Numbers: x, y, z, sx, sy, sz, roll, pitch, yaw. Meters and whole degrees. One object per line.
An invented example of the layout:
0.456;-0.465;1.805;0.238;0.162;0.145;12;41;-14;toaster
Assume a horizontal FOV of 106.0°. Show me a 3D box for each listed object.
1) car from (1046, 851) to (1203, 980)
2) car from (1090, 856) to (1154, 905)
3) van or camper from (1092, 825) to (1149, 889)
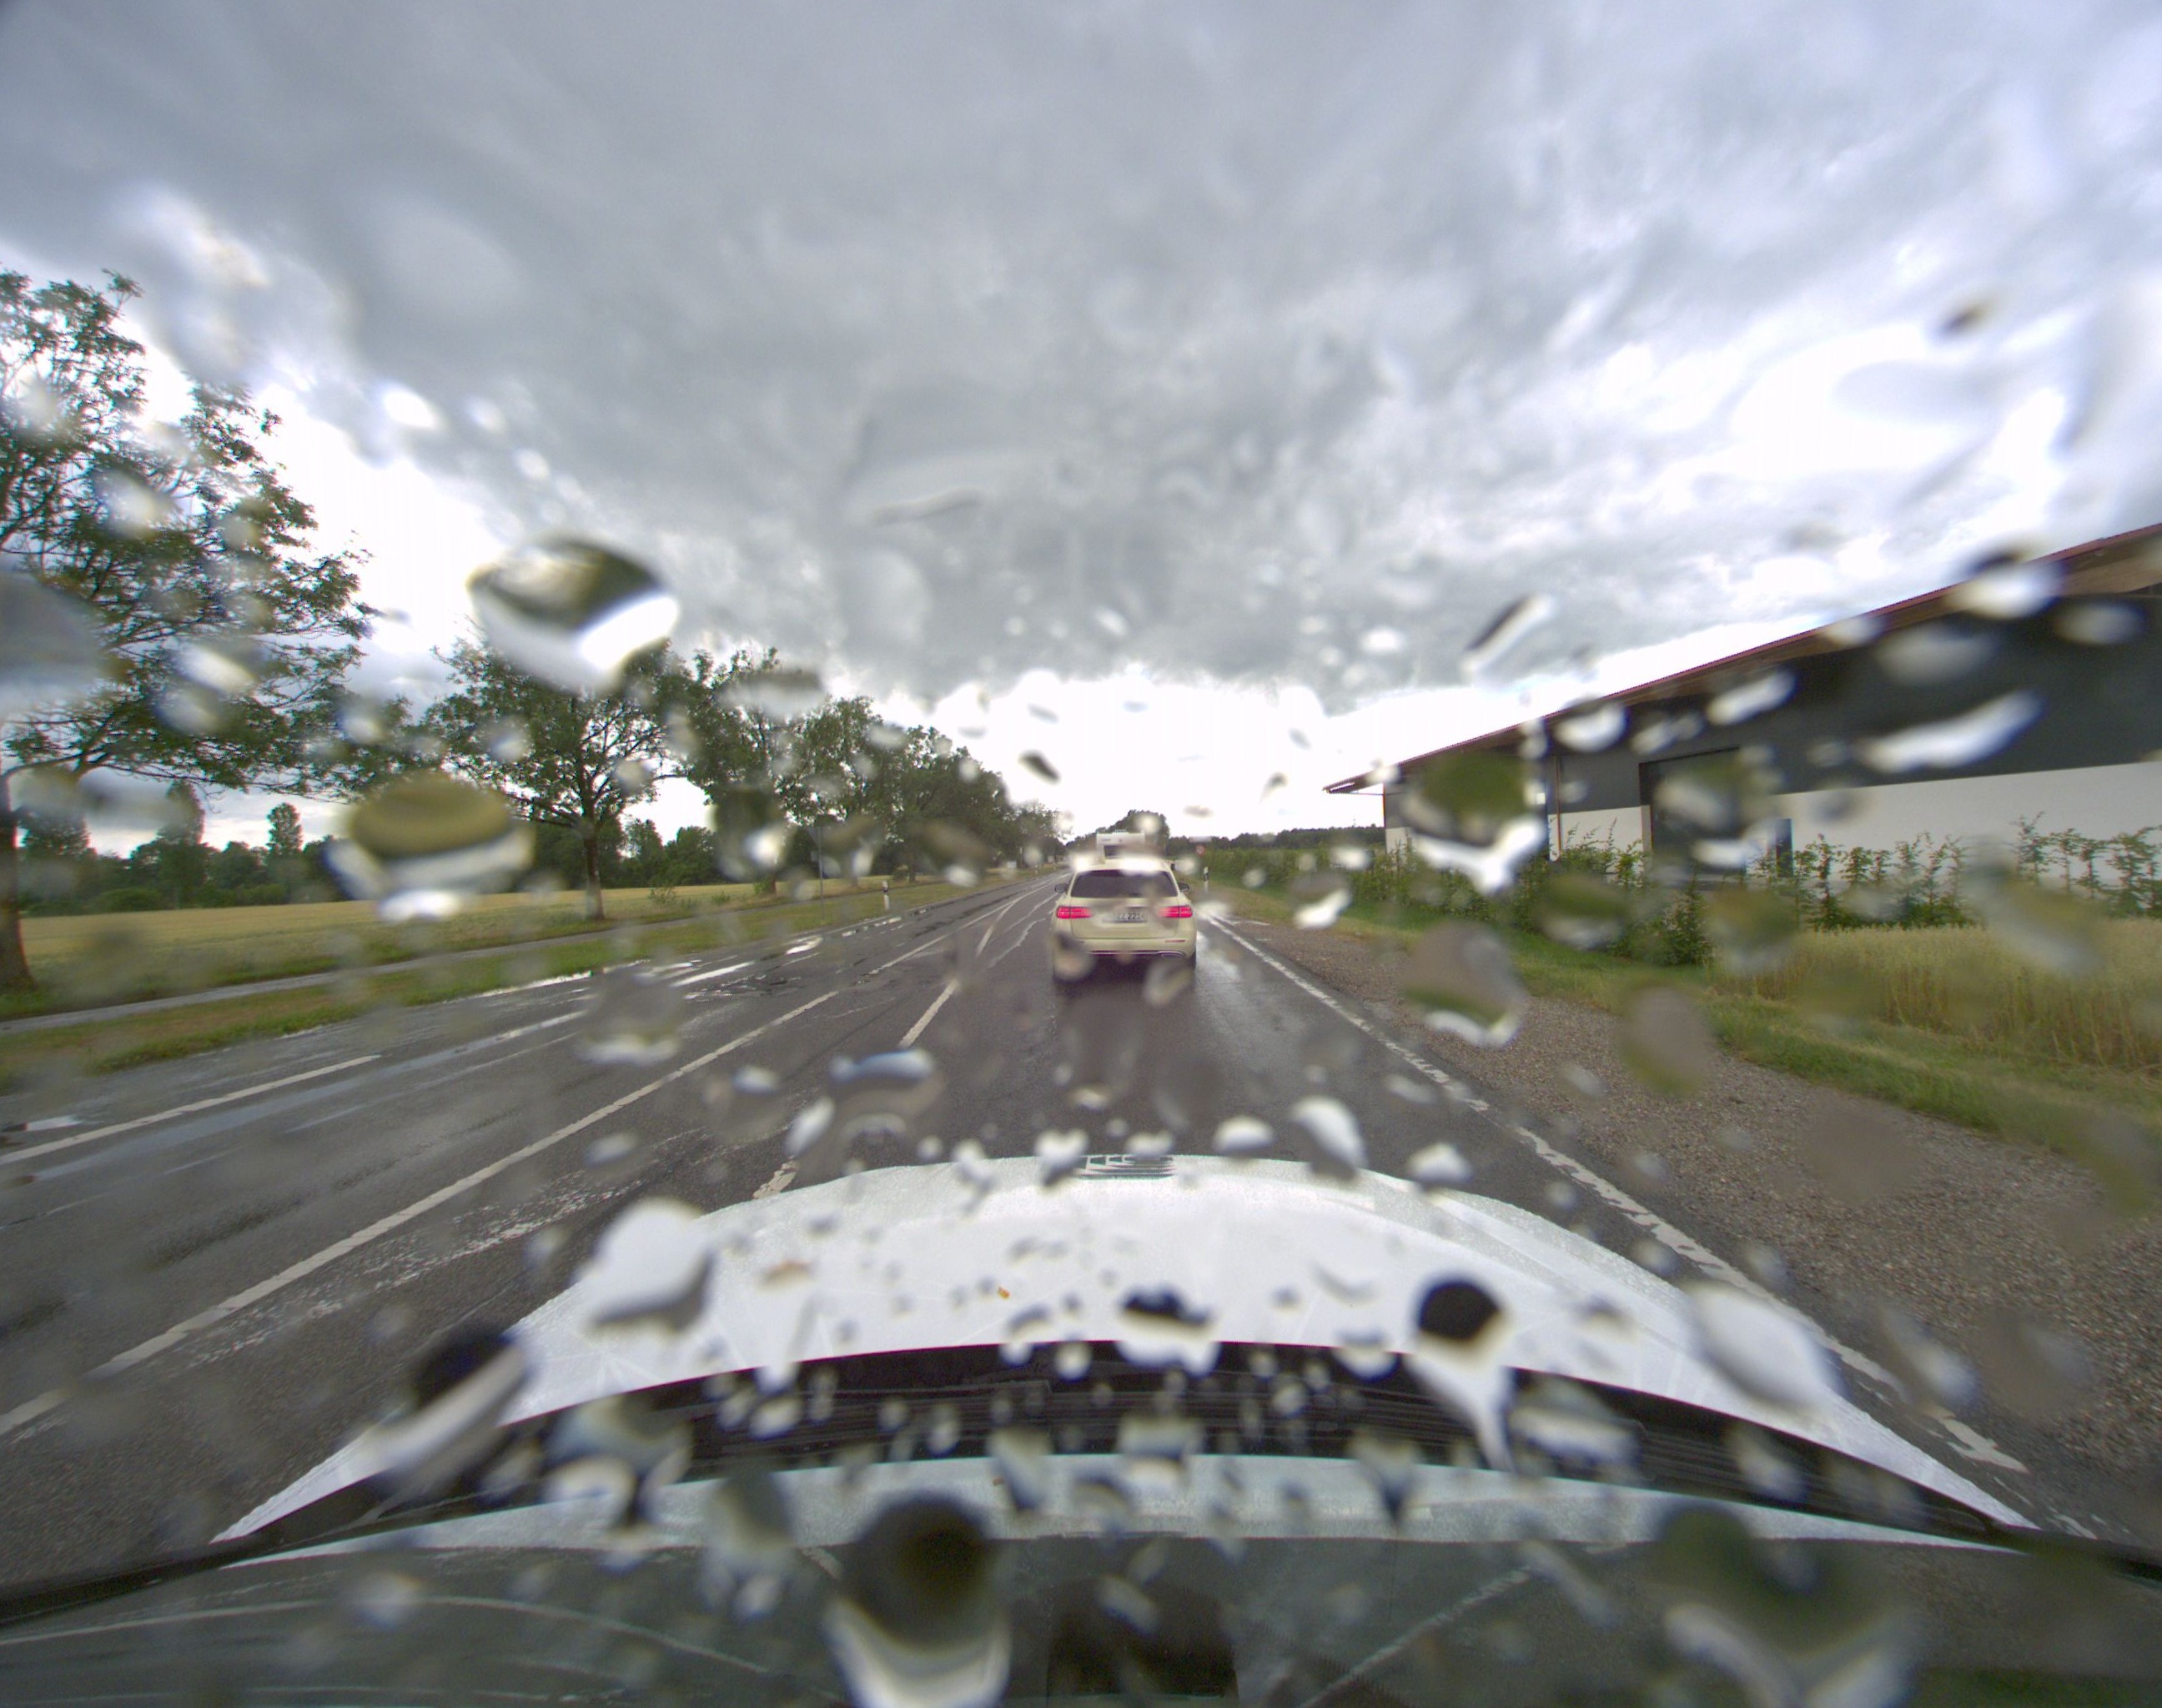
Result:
0.601;0.718;11.446;1.790;1.464;4.033;-1;0;3;car
1.310;0.803;26.399;1.887;1.429;3.929;-1;0;2;car
1.973;0.161;40.412;2.486;2.831;5.938;-3;0;3;van or camper
